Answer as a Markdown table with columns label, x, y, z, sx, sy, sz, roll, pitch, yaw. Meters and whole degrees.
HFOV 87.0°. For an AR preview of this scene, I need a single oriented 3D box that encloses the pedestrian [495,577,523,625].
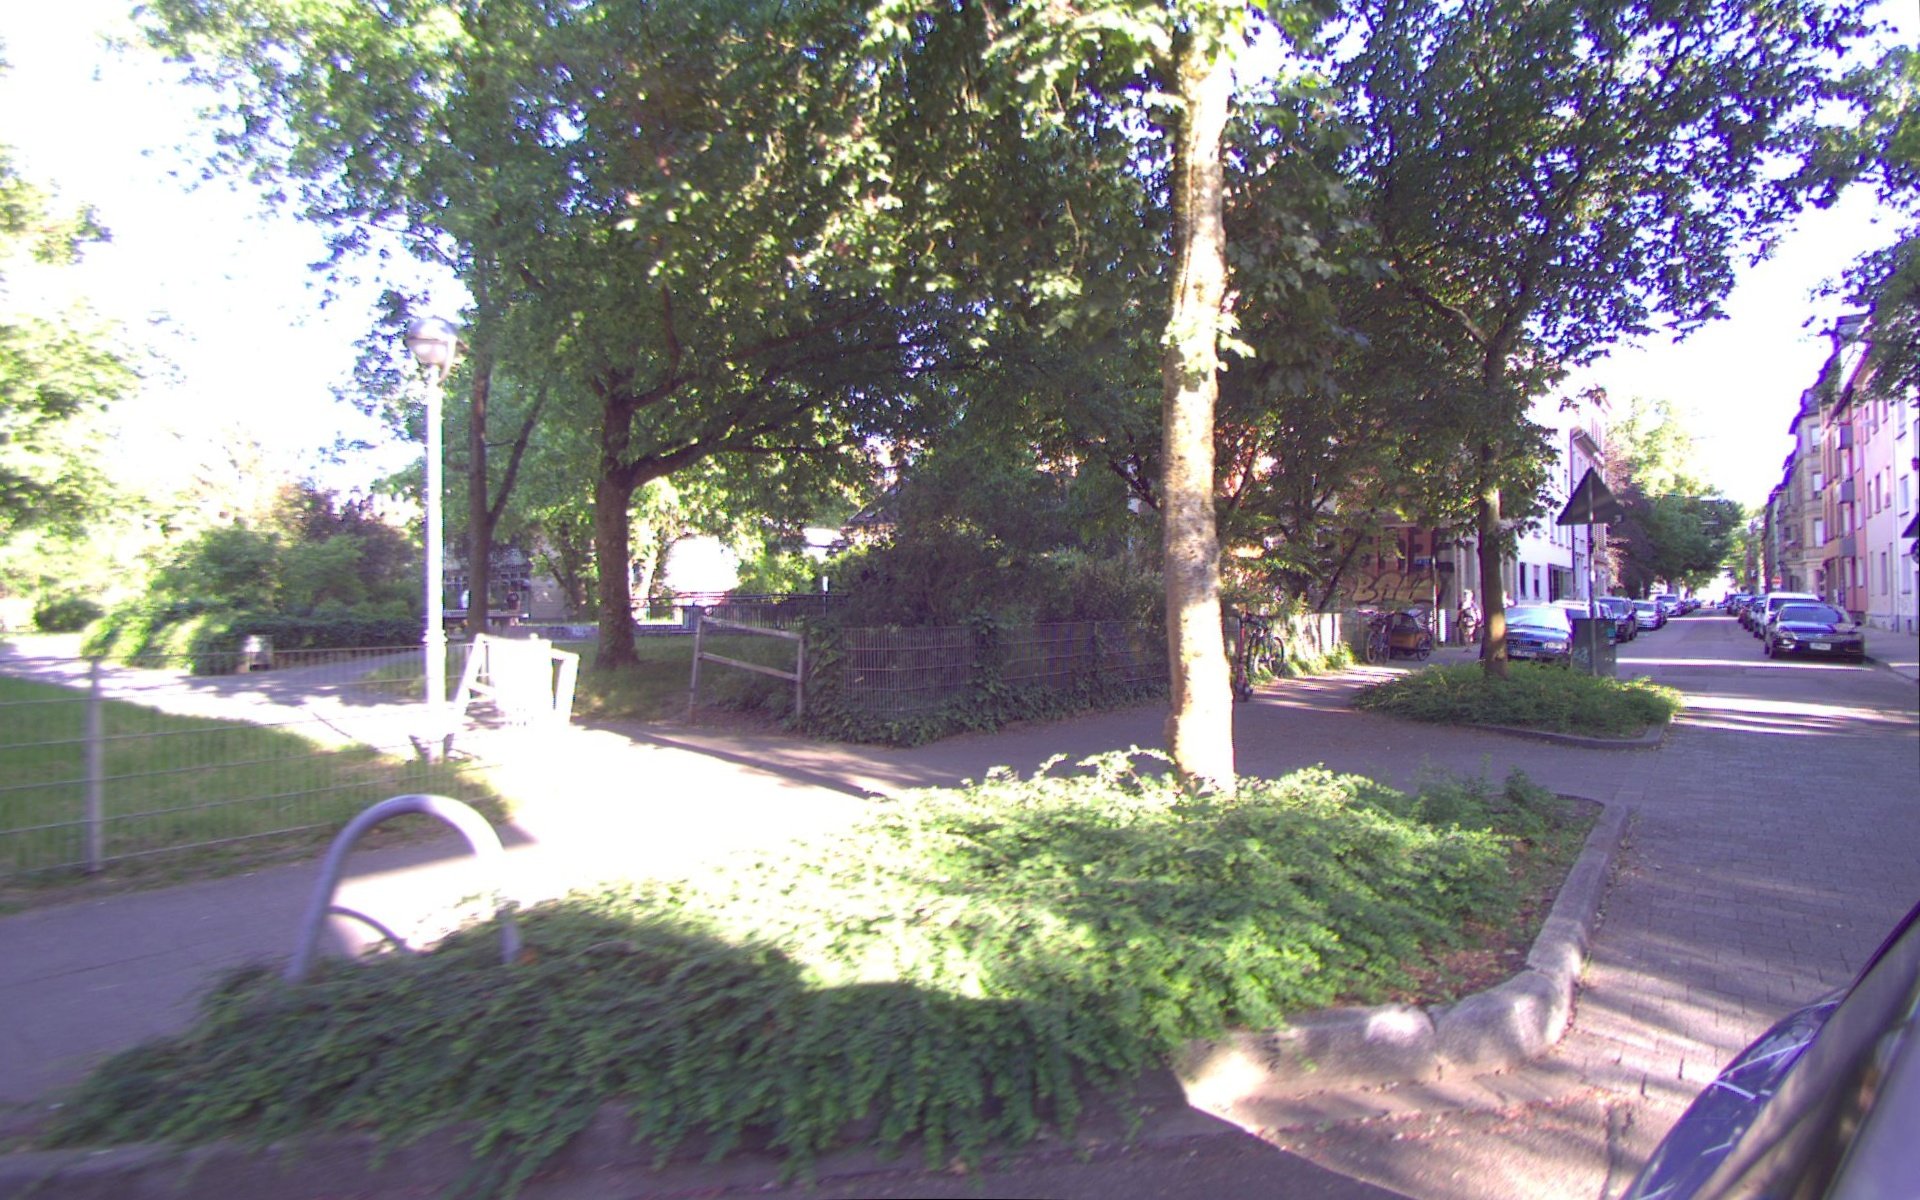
| label | x | y | z | sx | sy | sz | roll | pitch | yaw |
| --- | --- | --- | --- | --- | --- | --- | --- | --- | --- |
| pedestrian | -19.015 | 0.036 | 42.675 | 0.893 | 2.039 | 0.750 | 0 | 0 | -5 |

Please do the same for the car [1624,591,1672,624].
| label | x | y | z | sx | sy | sz | roll | pitch | yaw |
| --- | --- | --- | --- | --- | --- | --- | --- | --- | --- |
| car | 35.062 | 0.371 | 51.526 | 1.760 | 1.536 | 4.048 | 2 | 2 | 37 |

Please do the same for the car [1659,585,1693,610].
| label | x | y | z | sx | sy | sz | roll | pitch | yaw |
| --- | --- | --- | --- | --- | --- | --- | --- | --- | --- |
| car | 59.844 | -0.232 | 84.551 | 1.860 | 2.006 | 4.414 | 3 | 2 | 41 |

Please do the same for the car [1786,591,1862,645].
| label | x | y | z | sx | sy | sz | roll | pitch | yaw |
| --- | --- | --- | --- | --- | --- | --- | --- | --- | --- |
| car | 25.721 | 0.484 | 30.208 | 1.591 | 1.468 | 3.436 | 3 | 2 | 39 |

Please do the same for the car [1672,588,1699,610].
| label | x | y | z | sx | sy | sz | roll | pitch | yaw |
| --- | --- | --- | --- | --- | --- | --- | --- | --- | --- |
| car | 64.139 | -0.096 | 89.453 | 1.760 | 1.880 | 4.228 | -1 | 0 | 37 |

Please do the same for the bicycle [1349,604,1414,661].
| label | x | y | z | sx | sy | sz | roll | pitch | yaw |
| --- | --- | --- | --- | --- | --- | --- | --- | --- | --- |
| bicycle | 9.519 | 0.704 | 22.830 | 0.845 | 1.216 | 1.953 | -1 | -1 | 39 |

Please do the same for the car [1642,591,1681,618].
| label | x | y | z | sx | sy | sz | roll | pitch | yaw |
| --- | --- | --- | --- | --- | --- | --- | --- | --- | --- |
| car | 43.679 | 0.258 | 62.988 | 1.760 | 1.552 | 4.048 | 2 | 2 | 37 |

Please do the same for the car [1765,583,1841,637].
| label | x | y | z | sx | sy | sz | roll | pitch | yaw |
| --- | --- | --- | --- | --- | --- | --- | --- | --- | --- |
| car | 30.220 | 0.306 | 36.377 | 1.745 | 1.762 | 4.259 | 2 | 2 | 36 |

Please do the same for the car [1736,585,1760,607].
| label | x | y | z | sx | sy | sz | roll | pitch | yaw |
| --- | --- | --- | --- | --- | --- | --- | --- | --- | --- |
| car | 80.120 | -0.414 | 102.922 | 1.760 | 2.112 | 4.207 | 2 | 2 | 37 |

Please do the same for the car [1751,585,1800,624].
| label | x | y | z | sx | sy | sz | roll | pitch | yaw |
| --- | --- | --- | --- | --- | --- | --- | --- | --- | --- |
| car | 41.630 | 0.183 | 51.746 | 1.760 | 1.847 | 4.048 | 2 | 2 | 37 |

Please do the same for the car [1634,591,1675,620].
| label | x | y | z | sx | sy | sz | roll | pitch | yaw |
| --- | --- | --- | --- | --- | --- | --- | --- | --- | --- |
| car | 40.511 | 0.289 | 59.017 | 1.760 | 1.552 | 4.048 | 1 | 1 | 37 |

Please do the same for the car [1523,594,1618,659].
| label | x | y | z | sx | sy | sz | roll | pitch | yaw |
| --- | --- | --- | --- | --- | --- | --- | --- | --- | --- |
| car | 16.039 | 0.623 | 26.504 | 1.655 | 1.512 | 4.294 | 1 | 1 | 38 |

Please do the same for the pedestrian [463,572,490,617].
| label | x | y | z | sx | sy | sz | roll | pitch | yaw |
| --- | --- | --- | --- | --- | --- | --- | --- | --- | --- |
| pedestrian | -21.770 | -0.253 | 45.556 | 0.893 | 2.039 | 0.750 | 0 | 0 | -5 |

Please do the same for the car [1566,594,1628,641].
| label | x | y | z | sx | sy | sz | roll | pitch | yaw |
| --- | --- | --- | --- | --- | --- | --- | --- | --- | --- |
| car | 21.598 | 0.555 | 34.266 | 1.588 | 1.469 | 3.952 | 1 | 1 | 35 |

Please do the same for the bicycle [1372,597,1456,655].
| label | x | y | z | sx | sy | sz | roll | pitch | yaw |
| --- | --- | --- | --- | --- | --- | --- | --- | --- | --- |
| bicycle | 11.167 | 0.592 | 24.852 | 1.289 | 1.318 | 2.293 | 2 | 1 | 40 |

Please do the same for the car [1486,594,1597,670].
| label | x | y | z | sx | sy | sz | roll | pitch | yaw |
| --- | --- | --- | --- | --- | --- | --- | --- | --- | --- |
| car | 13.107 | 0.638 | 22.694 | 1.716 | 1.512 | 4.356 | 1 | 1 | 36 |

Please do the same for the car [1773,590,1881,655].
| label | x | y | z | sx | sy | sz | roll | pitch | yaw |
| --- | --- | --- | --- | --- | --- | --- | --- | --- | --- |
| car | 22.069 | 0.503 | 25.912 | 1.775 | 1.461 | 4.334 | 2 | 2 | 37 |

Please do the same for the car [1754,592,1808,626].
| label | x | y | z | sx | sy | sz | roll | pitch | yaw |
| --- | --- | --- | --- | --- | --- | --- | --- | --- | --- |
| car | 38.483 | 0.384 | 47.506 | 1.760 | 1.490 | 3.765 | 2 | 2 | 37 |

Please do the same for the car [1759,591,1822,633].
| label | x | y | z | sx | sy | sz | roll | pitch | yaw |
| --- | --- | --- | --- | --- | --- | --- | --- | --- | --- |
| car | 33.105 | 0.423 | 40.302 | 1.671 | 1.546 | 4.022 | 3 | 2 | 43 |

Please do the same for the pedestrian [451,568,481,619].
| label | x | y | z | sx | sy | sz | roll | pitch | yaw |
| --- | --- | --- | --- | --- | --- | --- | --- | --- | --- |
| pedestrian | -19.945 | -0.279 | 40.904 | 0.893 | 2.039 | 0.750 | 0 | 0 | -5 |

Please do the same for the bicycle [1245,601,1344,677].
| label | x | y | z | sx | sy | sz | roll | pitch | yaw |
| --- | --- | --- | --- | --- | --- | --- | --- | --- | --- |
| bicycle | 6.179 | 0.667 | 18.562 | 0.845 | 1.284 | 2.654 | -1 | -1 | 39 |

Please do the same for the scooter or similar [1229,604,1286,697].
| label | x | y | z | sx | sy | sz | roll | pitch | yaw |
| --- | --- | --- | --- | --- | --- | --- | --- | --- | --- |
| scooter or similar | 4.351 | 0.706 | 14.882 | 0.537 | 1.277 | 1.470 | 0 | 0 | 6 |

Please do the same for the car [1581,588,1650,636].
| label | x | y | z | sx | sy | sz | roll | pitch | yaw |
| --- | --- | --- | --- | --- | --- | --- | --- | --- | --- |
| car | 24.597 | 0.419 | 37.914 | 1.763 | 1.688 | 4.267 | 0 | 0 | 39 |

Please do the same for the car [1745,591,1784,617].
| label | x | y | z | sx | sy | sz | roll | pitch | yaw |
| --- | --- | --- | --- | --- | --- | --- | --- | --- | --- |
| car | 50.646 | 0.231 | 63.749 | 1.760 | 1.552 | 4.048 | 2 | 2 | 37 |

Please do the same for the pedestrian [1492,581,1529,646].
| label | x | y | z | sx | sy | sz | roll | pitch | yaw |
| --- | --- | --- | --- | --- | --- | --- | --- | --- | --- |
| pedestrian | 15.021 | 0.355 | 27.615 | 0.709 | 1.730 | 0.742 | 3 | 2 | 37 |

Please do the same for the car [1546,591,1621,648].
| label | x | y | z | sx | sy | sz | roll | pitch | yaw |
| --- | --- | --- | --- | --- | --- | --- | --- | --- | --- |
| car | 19.023 | 0.549 | 30.821 | 1.590 | 1.605 | 3.713 | 1 | 1 | 37 |

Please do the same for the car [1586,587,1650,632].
| label | x | y | z | sx | sy | sz | roll | pitch | yaw |
| --- | --- | --- | --- | --- | --- | --- | --- | --- | --- |
| car | 27.445 | 0.340 | 42.156 | 1.877 | 1.687 | 4.270 | 2 | 2 | 37 |

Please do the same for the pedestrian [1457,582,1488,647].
| label | x | y | z | sx | sy | sz | roll | pitch | yaw |
| --- | --- | --- | --- | --- | --- | --- | --- | --- | --- |
| pedestrian | 14.166 | 0.392 | 27.962 | 0.596 | 1.730 | 0.697 | 3 | 2 | 37 |

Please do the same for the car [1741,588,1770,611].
| label | x | y | z | sx | sy | sz | roll | pitch | yaw |
| --- | --- | --- | --- | --- | --- | --- | --- | --- | --- |
| car | 67.926 | -0.050 | 86.439 | 1.760 | 1.879 | 3.940 | 2 | 2 | 37 |
